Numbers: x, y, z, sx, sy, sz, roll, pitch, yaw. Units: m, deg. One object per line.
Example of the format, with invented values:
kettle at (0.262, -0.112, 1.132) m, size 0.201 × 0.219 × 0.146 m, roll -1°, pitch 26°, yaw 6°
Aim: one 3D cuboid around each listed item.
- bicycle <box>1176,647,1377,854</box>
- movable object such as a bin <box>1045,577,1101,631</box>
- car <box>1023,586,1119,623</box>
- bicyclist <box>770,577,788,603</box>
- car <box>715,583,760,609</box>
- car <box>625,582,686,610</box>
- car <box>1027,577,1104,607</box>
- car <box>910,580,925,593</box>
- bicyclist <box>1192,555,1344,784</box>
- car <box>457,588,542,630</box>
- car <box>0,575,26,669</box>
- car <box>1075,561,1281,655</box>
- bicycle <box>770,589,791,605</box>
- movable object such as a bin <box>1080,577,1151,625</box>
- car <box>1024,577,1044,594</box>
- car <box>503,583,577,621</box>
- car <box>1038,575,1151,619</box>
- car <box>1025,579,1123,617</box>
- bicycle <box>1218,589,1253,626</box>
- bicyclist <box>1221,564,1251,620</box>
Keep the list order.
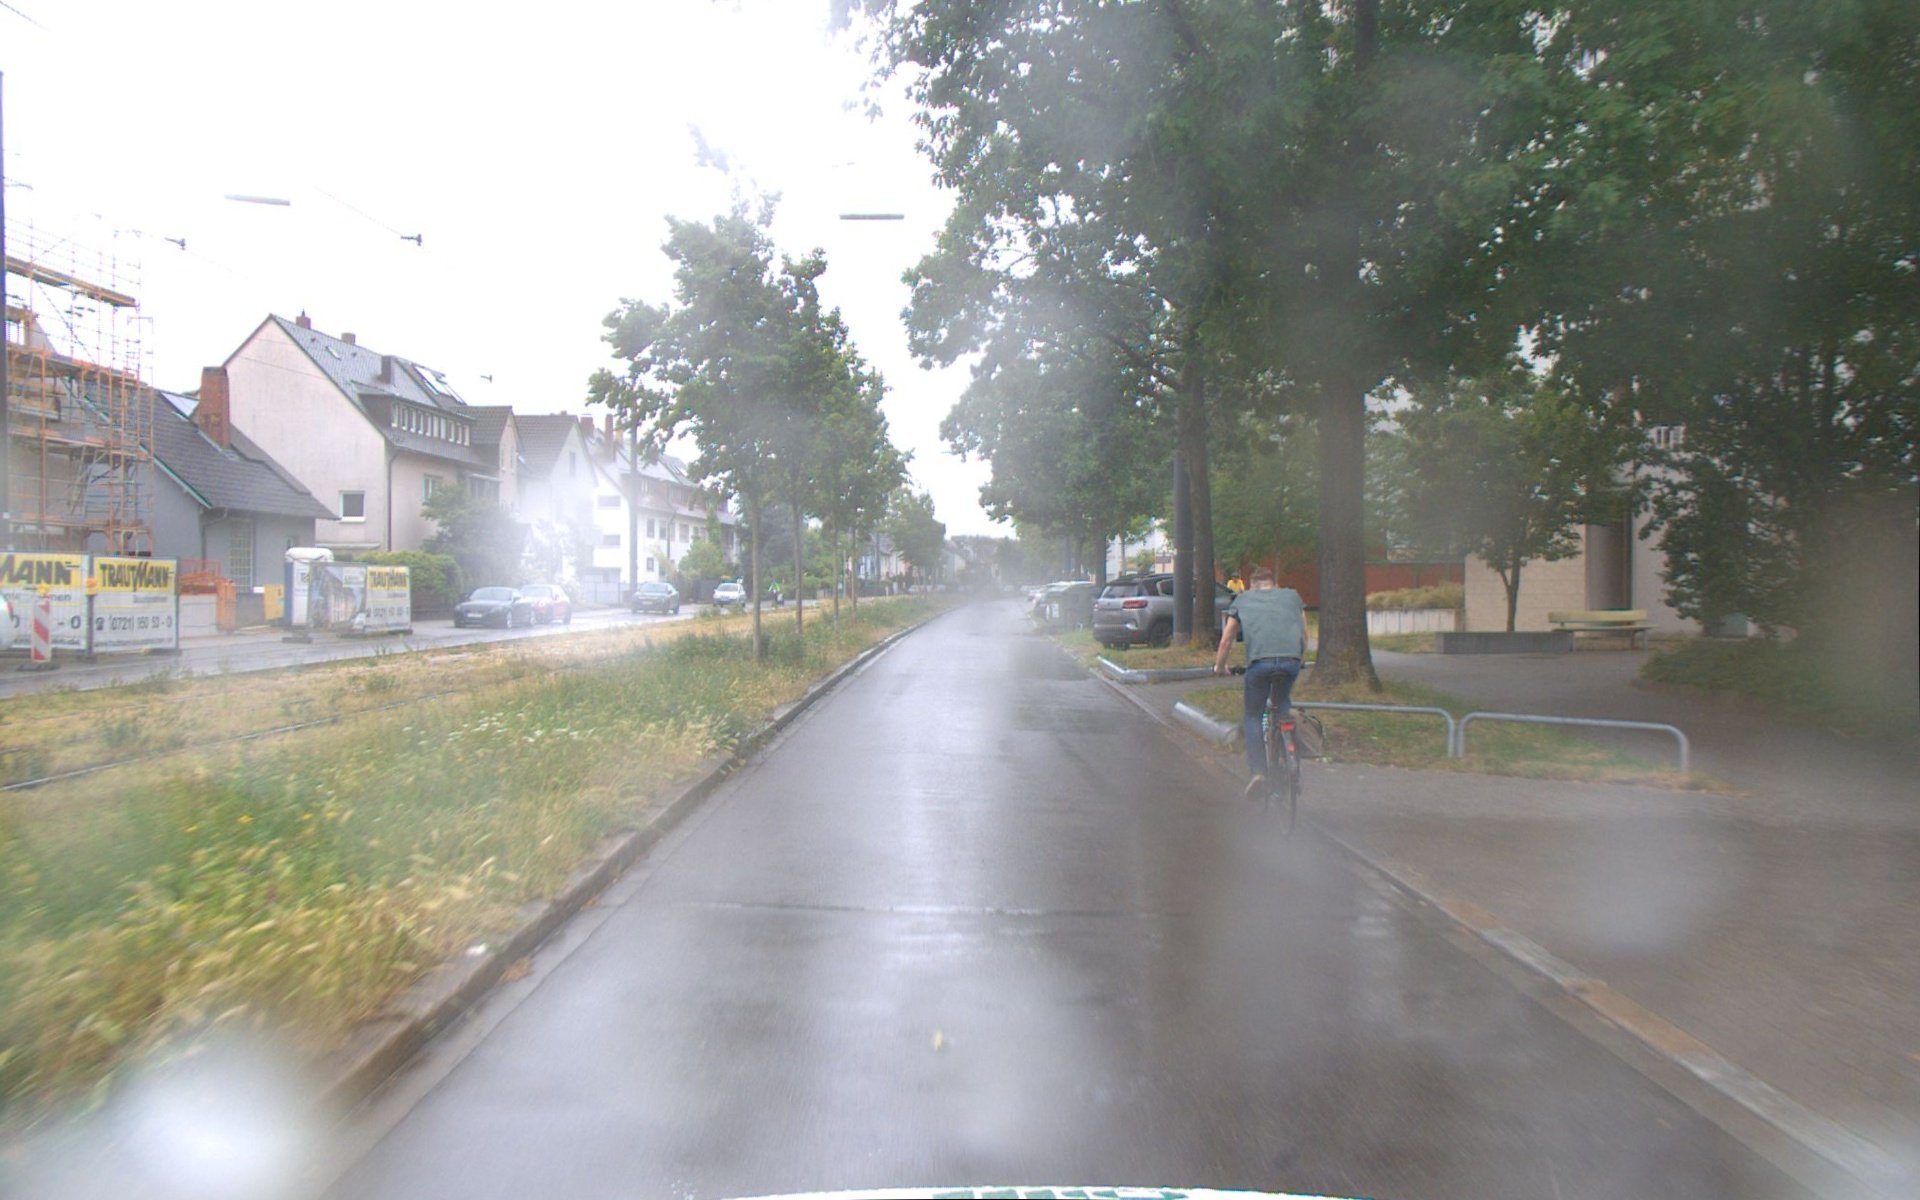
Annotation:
bicycle at (2.053, 0.934, 11.124) m, size 0.793 × 1.116 × 2.516 m, roll -1°, pitch 1°, yaw -2°
movable object such as a bin at (3.382, 0.115, 49.600) m, size 1.109 × 1.482 × 1.393 m, roll -6°, pitch 3°, yaw -20°
car at (4.691, 0.164, 69.594) m, size 3.996 × 1.468 × 1.565 m, roll -1°, pitch 1°, yaw -36°
bicyclist at (-11.946, -0.646, 109.164) m, size 0.997 × 1.715 × 1.092 m, roll 0°, pitch 1°, yaw 0°
car at (-13.986, -0.289, 104.042) m, size 1.857 × 1.495 × 4.690 m, roll 2°, pitch 1°, yaw 4°
car at (-14.996, -0.231, 81.737) m, size 1.857 × 1.266 × 4.690 m, roll 2°, pitch 1°, yaw 4°
car at (5.564, -0.435, 86.723) m, size 3.996 × 1.539 × 1.565 m, roll -1°, pitch 1°, yaw -36°
car at (-5.760, -1.863, 222.806) m, size 1.805 × 1.701 × 4.001 m, roll 0°, pitch 1°, yaw 1°
bicyclist at (2.053, 0.440, 11.164) m, size 0.793 × 1.458 × 1.060 m, roll -1°, pitch 1°, yaw -2°
car at (-15.477, 0.278, 55.830) m, size 1.629 × 1.266 × 4.072 m, roll 2°, pitch 1°, yaw 1°
car at (-17.044, 0.362, 26.355) m, size 1.675 × 1.569 × 4.423 m, roll 2°, pitch 1°, yaw 1°
car at (4.737, 0.127, 35.834) m, size 4.095 × 1.749 × 1.979 m, roll -4°, pitch 2°, yaw -32°
bicycle at (-11.926, -0.217, 109.877) m, size 0.997 × 1.045 × 3.197 m, roll 0°, pitch 1°, yaw 1°
movable object such as a bin at (4.678, 0.031, 49.842) m, size 1.657 × 1.349 × 1.393 m, roll -3°, pitch 1°, yaw -20°
car at (7.006, -1.389, 156.849) m, size 1.795 × 1.614 × 4.001 m, roll 0°, pitch 1°, yaw 1°
car at (-15.453, 0.047, 61.015) m, size 1.640 × 1.266 × 3.856 m, roll 2°, pitch 1°, yaw 1°
car at (4.863, -0.127, 59.749) m, size 3.992 × 1.545 × 1.567 m, roll -1°, pitch 1°, yaw -34°
car at (4.529, -0.097, 65.387) m, size 4.009 × 1.468 × 1.560 m, roll -1°, pitch 1°, yaw -44°
bicycle at (8.199, 0.204, 49.221) m, size 0.719 × 1.075 × 2.051 m, roll 0°, pitch 1°, yaw 0°
bicyclist at (8.203, -0.244, 49.147) m, size 0.719 × 1.621 × 0.945 m, roll -1°, pitch 1°, yaw 0°
